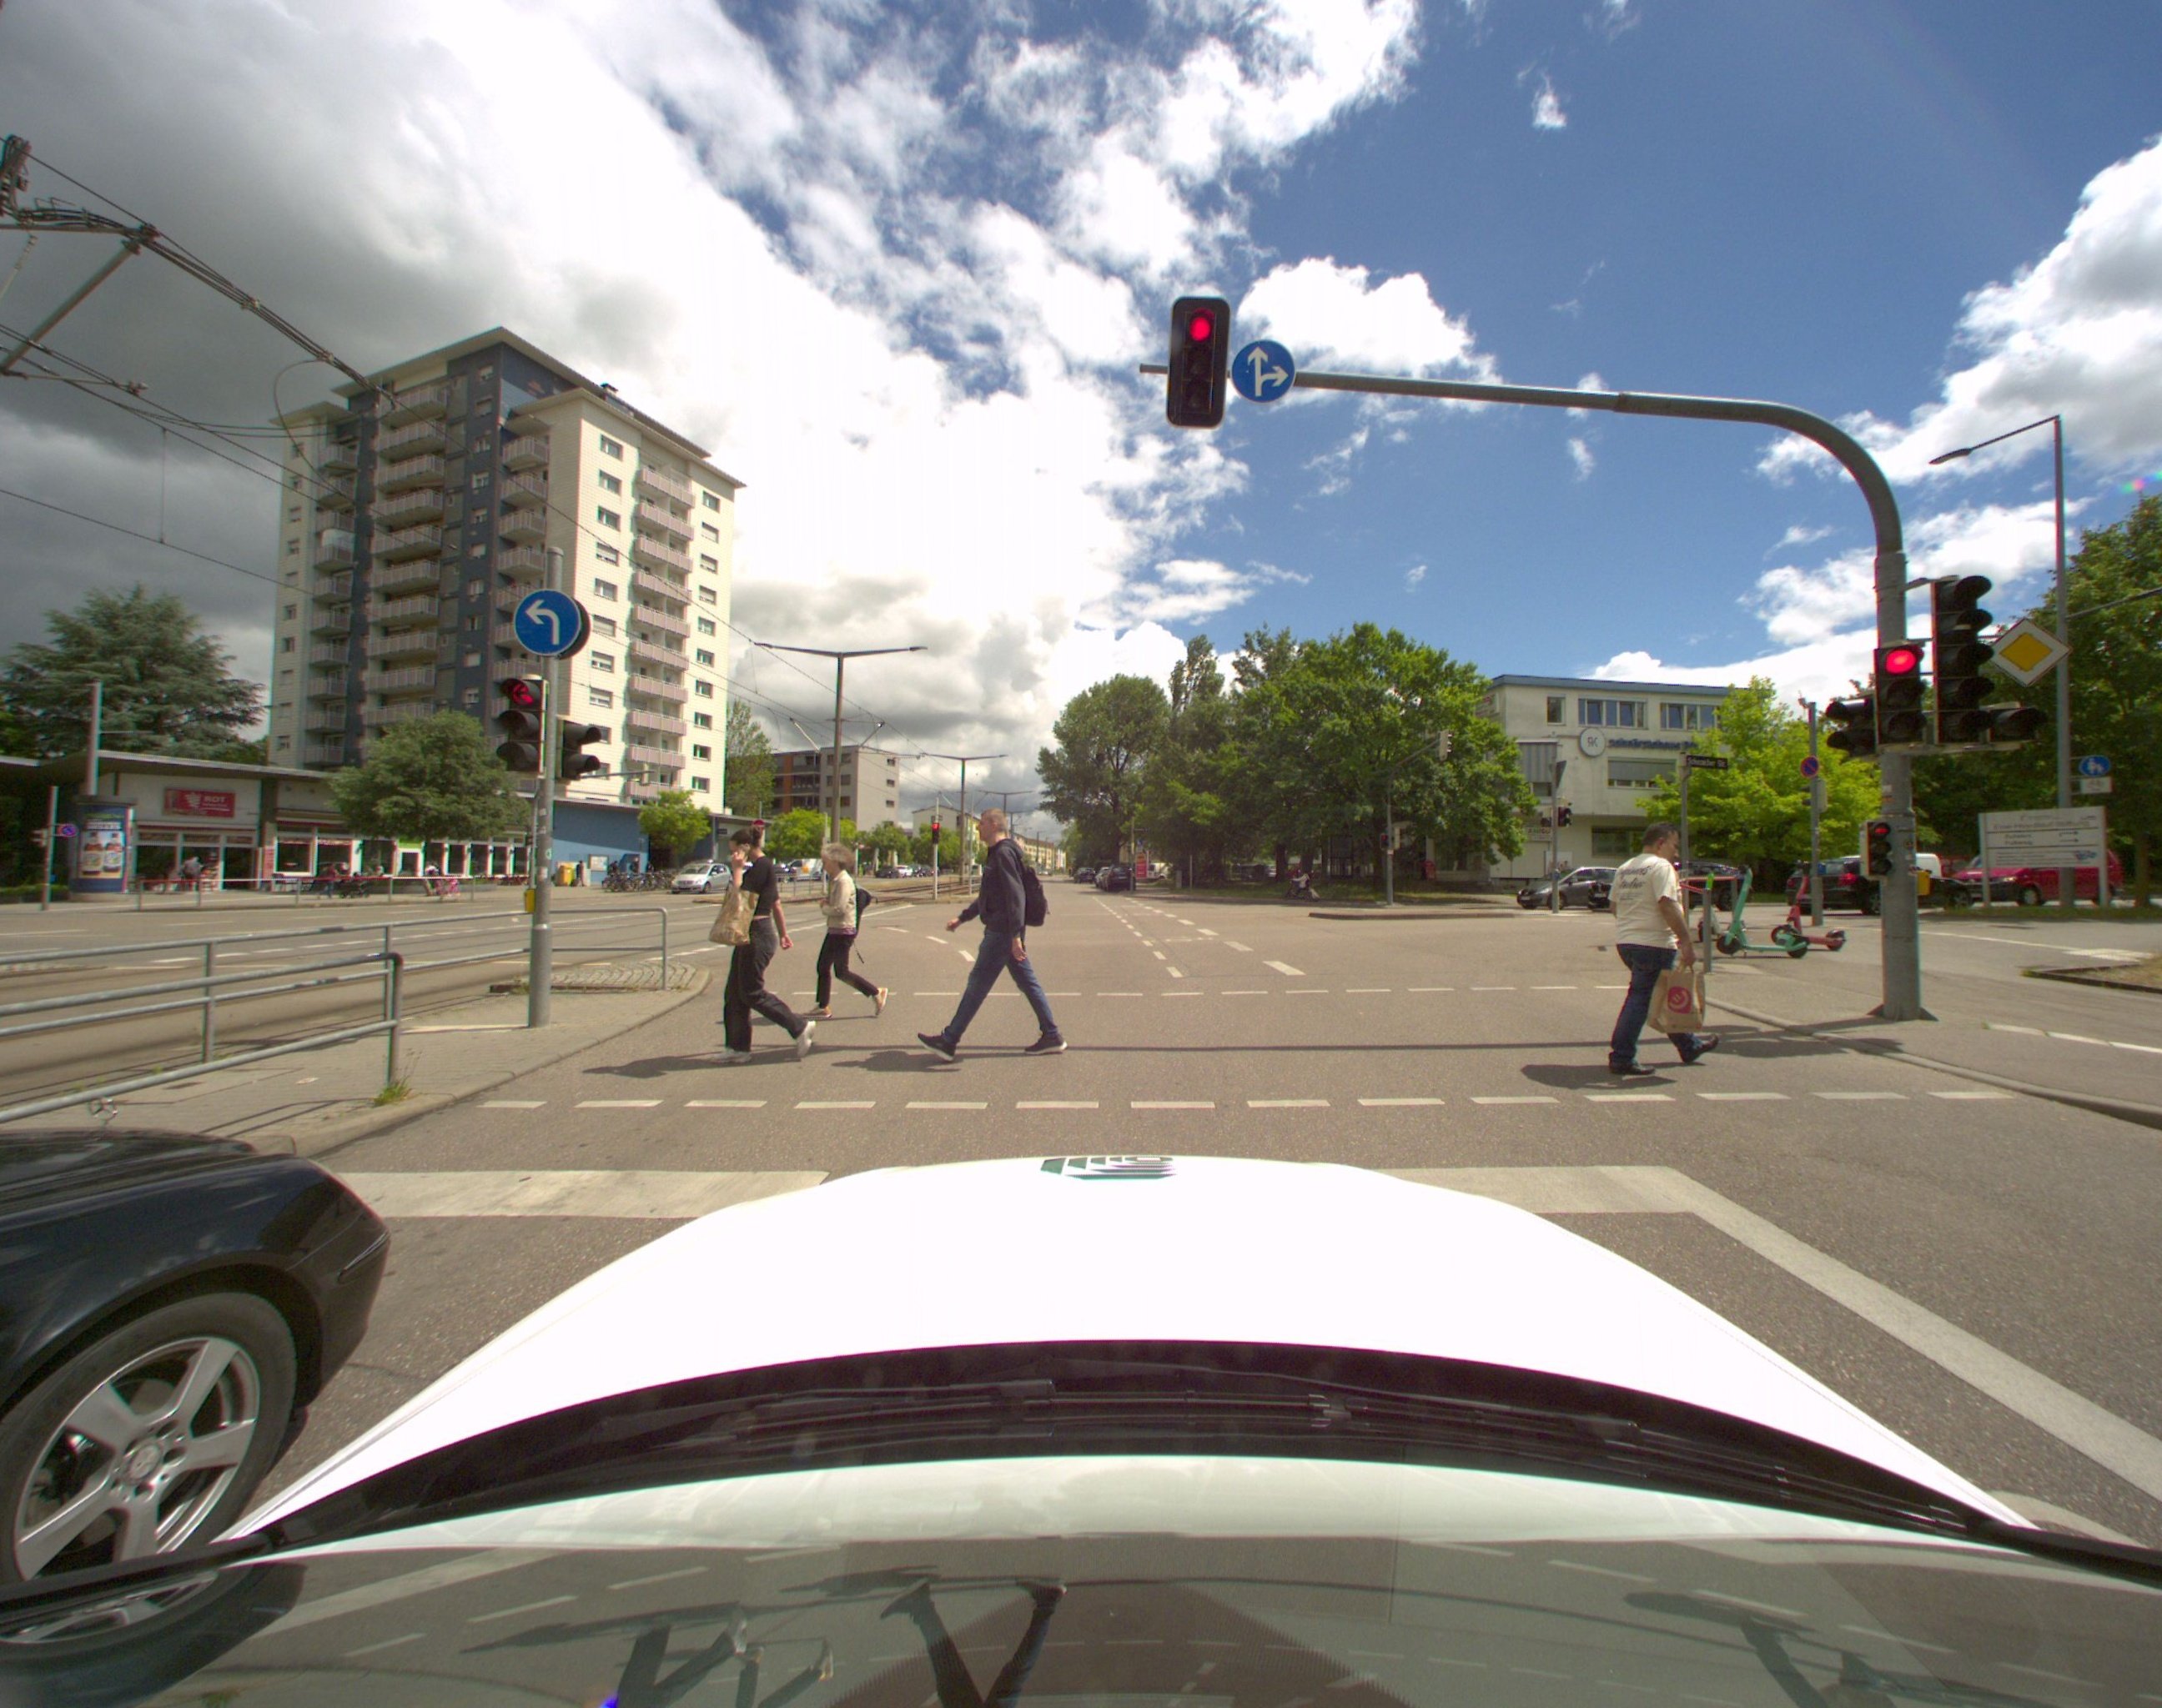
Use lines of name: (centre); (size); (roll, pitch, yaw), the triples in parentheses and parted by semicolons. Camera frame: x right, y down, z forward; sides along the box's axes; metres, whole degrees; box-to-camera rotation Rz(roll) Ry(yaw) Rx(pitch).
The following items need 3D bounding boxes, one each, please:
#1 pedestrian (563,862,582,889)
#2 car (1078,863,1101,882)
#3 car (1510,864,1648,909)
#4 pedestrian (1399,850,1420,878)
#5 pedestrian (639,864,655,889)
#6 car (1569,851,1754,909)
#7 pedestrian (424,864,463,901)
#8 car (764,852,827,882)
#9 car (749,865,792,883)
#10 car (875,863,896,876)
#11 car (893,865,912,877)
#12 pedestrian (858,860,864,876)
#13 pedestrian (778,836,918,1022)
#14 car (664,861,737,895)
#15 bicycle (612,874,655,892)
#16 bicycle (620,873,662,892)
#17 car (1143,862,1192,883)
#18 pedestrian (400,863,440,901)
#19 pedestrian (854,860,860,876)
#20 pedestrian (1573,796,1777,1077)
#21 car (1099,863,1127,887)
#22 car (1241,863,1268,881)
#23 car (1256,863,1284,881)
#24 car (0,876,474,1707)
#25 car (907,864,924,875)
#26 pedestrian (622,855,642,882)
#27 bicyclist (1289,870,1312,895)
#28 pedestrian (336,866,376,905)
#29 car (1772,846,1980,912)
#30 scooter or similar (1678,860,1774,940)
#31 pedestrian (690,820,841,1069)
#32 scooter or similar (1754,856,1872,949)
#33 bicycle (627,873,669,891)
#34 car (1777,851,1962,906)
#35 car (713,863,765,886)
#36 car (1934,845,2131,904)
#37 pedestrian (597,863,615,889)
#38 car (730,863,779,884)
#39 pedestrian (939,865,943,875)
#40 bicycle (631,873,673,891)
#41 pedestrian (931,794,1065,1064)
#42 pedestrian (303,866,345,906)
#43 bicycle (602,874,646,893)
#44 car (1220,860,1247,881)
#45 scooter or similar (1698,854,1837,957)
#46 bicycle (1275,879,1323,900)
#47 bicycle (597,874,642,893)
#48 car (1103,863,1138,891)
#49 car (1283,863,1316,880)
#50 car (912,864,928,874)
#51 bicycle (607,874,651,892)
pedestrian: (-30.483, 1.283, 48.837); (0.767, 1.615, 0.695); (0, -1, -11)
car: (0.813, 1.698, 74.669); (1.986, 1.684, 4.002); (0, 0, 2)
car: (17.983, 1.137, 29.495); (3.906, 1.556, 1.994); (0, 0, -9)
pedestrian: (18.936, 0.569, 46.925); (0.769, 1.643, 0.903); (0, -1, -12)
pedestrian: (-28.443, 1.463, 53.410); (0.768, 1.615, 0.695); (0, -1, -13)
car: (18.184, 0.789, 25.631); (4.551, 1.717, 1.996); (0, 0, -5)
pedestrian: (-29.314, 1.288, 37.454); (0.935, 1.659, 1.106); (-2, -1, 30)
car: (-24.684, 1.083, 70.209); (2.848, 2.478, 6.641); (0, -1, -42)
car: (-24.877, 1.579, 65.241); (1.800, 1.420, 4.166); (0, -1, -43)
car: (-22.008, 1.687, 91.807); (1.758, 1.395, 3.993); (0, 0, -5)
car: (-21.666, 2.057, 99.152); (1.758, 1.395, 3.993); (0, 0, -5)
pedestrian: (-24.275, 1.544, 89.730); (0.547, 1.716, 0.667); (0, -1, -8)
pedestrian: (-2.233, 0.682, 7.875); (0.945, 1.674, 0.874); (-1, -1, 16)
car: (-19.807, 1.213, 42.576); (1.930, 1.693, 3.874); (0, 0, 2)
bicycle: (-23.495, 1.509, 42.769); (1.943, 0.935, 0.494); (0, -1, -5)
bicycle: (-23.431, 1.514, 43.359); (1.943, 0.935, 0.494); (0, -1, -5)
car: (7.769, 1.629, 73.296); (4.001, 1.823, 1.766); (0, -1, -21)
pedestrian: (-29.327, 1.234, 36.149); (0.935, 1.659, 1.106); (-2, -1, 30)
pedestrian: (-25.095, 1.547, 91.269); (0.547, 1.716, 0.404); (0, -1, -8)
pedestrian: (4.062, 0.530, 5.627); (0.866, 1.808, 0.741); (0, 0, -2)
car: (2.333, 1.555, 59.341); (1.986, 1.684, 4.001); (0, -1, 2)
car: (15.928, 1.621, 74.955); (1.626, 1.573, 4.030); (0, 0, -1)
car: (17.679, 1.650, 76.317); (1.626, 1.595, 3.998); (0, 0, -1)
car: (-2.761, 0.789, 0.183); (1.721, 1.461, 4.546); (0, 0, 2)
car: (-21.457, 2.034, 105.776); (1.758, 1.395, 3.993); (0, 0, -5)
pedestrian: (-32.096, 1.011, 58.225); (0.863, 1.917, 1.213); (0, 0, -4)
bicyclist: (9.199, 1.199, 34.109); (0.628, 1.022, 0.799); (0, -1, 44)
pedestrian: (-31.230, 1.340, 35.089); (0.957, 1.659, 1.002); (-1, -1, 27)
car: (19.583, 0.623, 20.111); (3.991, 1.487, 1.750); (-1, -3, -13)
scooter or similar: (9.757, 0.684, 12.324); (1.360, 1.156, 0.540); (1, 0, -23)
pedestrian: (-2.373, 0.644, 6.244); (0.933, 1.765, 0.769); (0, 0, -10)
scooter or similar: (10.242, 0.672, 11.411); (1.225, 1.240, 0.555); (2, 0, -7)
bicycle: (-23.355, 1.519, 43.899); (1.943, 0.935, 0.494); (0, -1, -5)
car: (25.789, 0.765, 26.714); (4.555, 1.717, 1.995); (0, 0, -8)
car: (-24.672, 1.442, 58.676); (4.165, 1.570, 1.973); (-1, -1, 45)
car: (31.812, 0.687, 27.300); (4.800, 1.864, 1.994); (0, -2, -8)
pedestrian: (-30.007, 1.408, 51.473); (0.767, 1.615, 0.695); (0, -1, -12)
car: (-24.877, 1.437, 61.966); (4.165, 1.538, 1.973); (-1, -1, 45)
pedestrian: (-21.525, 2.440, 125.287); (0.450, 1.637, 0.481); (0, -1, 6)
bicycle: (-23.383, 1.524, 44.390); (1.943, 0.935, 0.494); (0, -1, -5)
pedestrian: (-0.616, 0.537, 6.319); (0.963, 1.942, 0.896); (0, 0, -3)
pedestrian: (-31.644, 1.332, 34.047); (0.957, 1.659, 1.002); (-1, -1, 27)
bicycle: (-23.446, 1.498, 41.787); (1.943, 0.935, 0.494); (0, -1, -5)
car: (13.881, 1.500, 74.265); (1.626, 1.811, 4.030); (0, 0, -1)
scooter or similar: (8.855, 0.651, 10.535); (1.336, 1.277, 0.463); (0, 0, 8)
bicycle: (9.128, 1.489, 34.205); (1.785, 0.819, 0.799); (0, -1, 44)
bicycle: (-23.405, 1.493, 41.327); (1.943, 0.935, 0.494); (0, -1, -5)
car: (2.492, 1.449, 51.887); (2.144, 1.684, 4.001); (0, -1, 2)
car: (20.571, 1.630, 76.683); (1.728, 1.595, 3.992); (0, 0, -5)
car: (-21.811, 2.035, 110.352); (1.758, 1.395, 3.993); (0, 0, -5)
bicycle: (-23.471, 1.503, 42.293); (1.943, 0.935, 0.494); (0, -1, -5)
